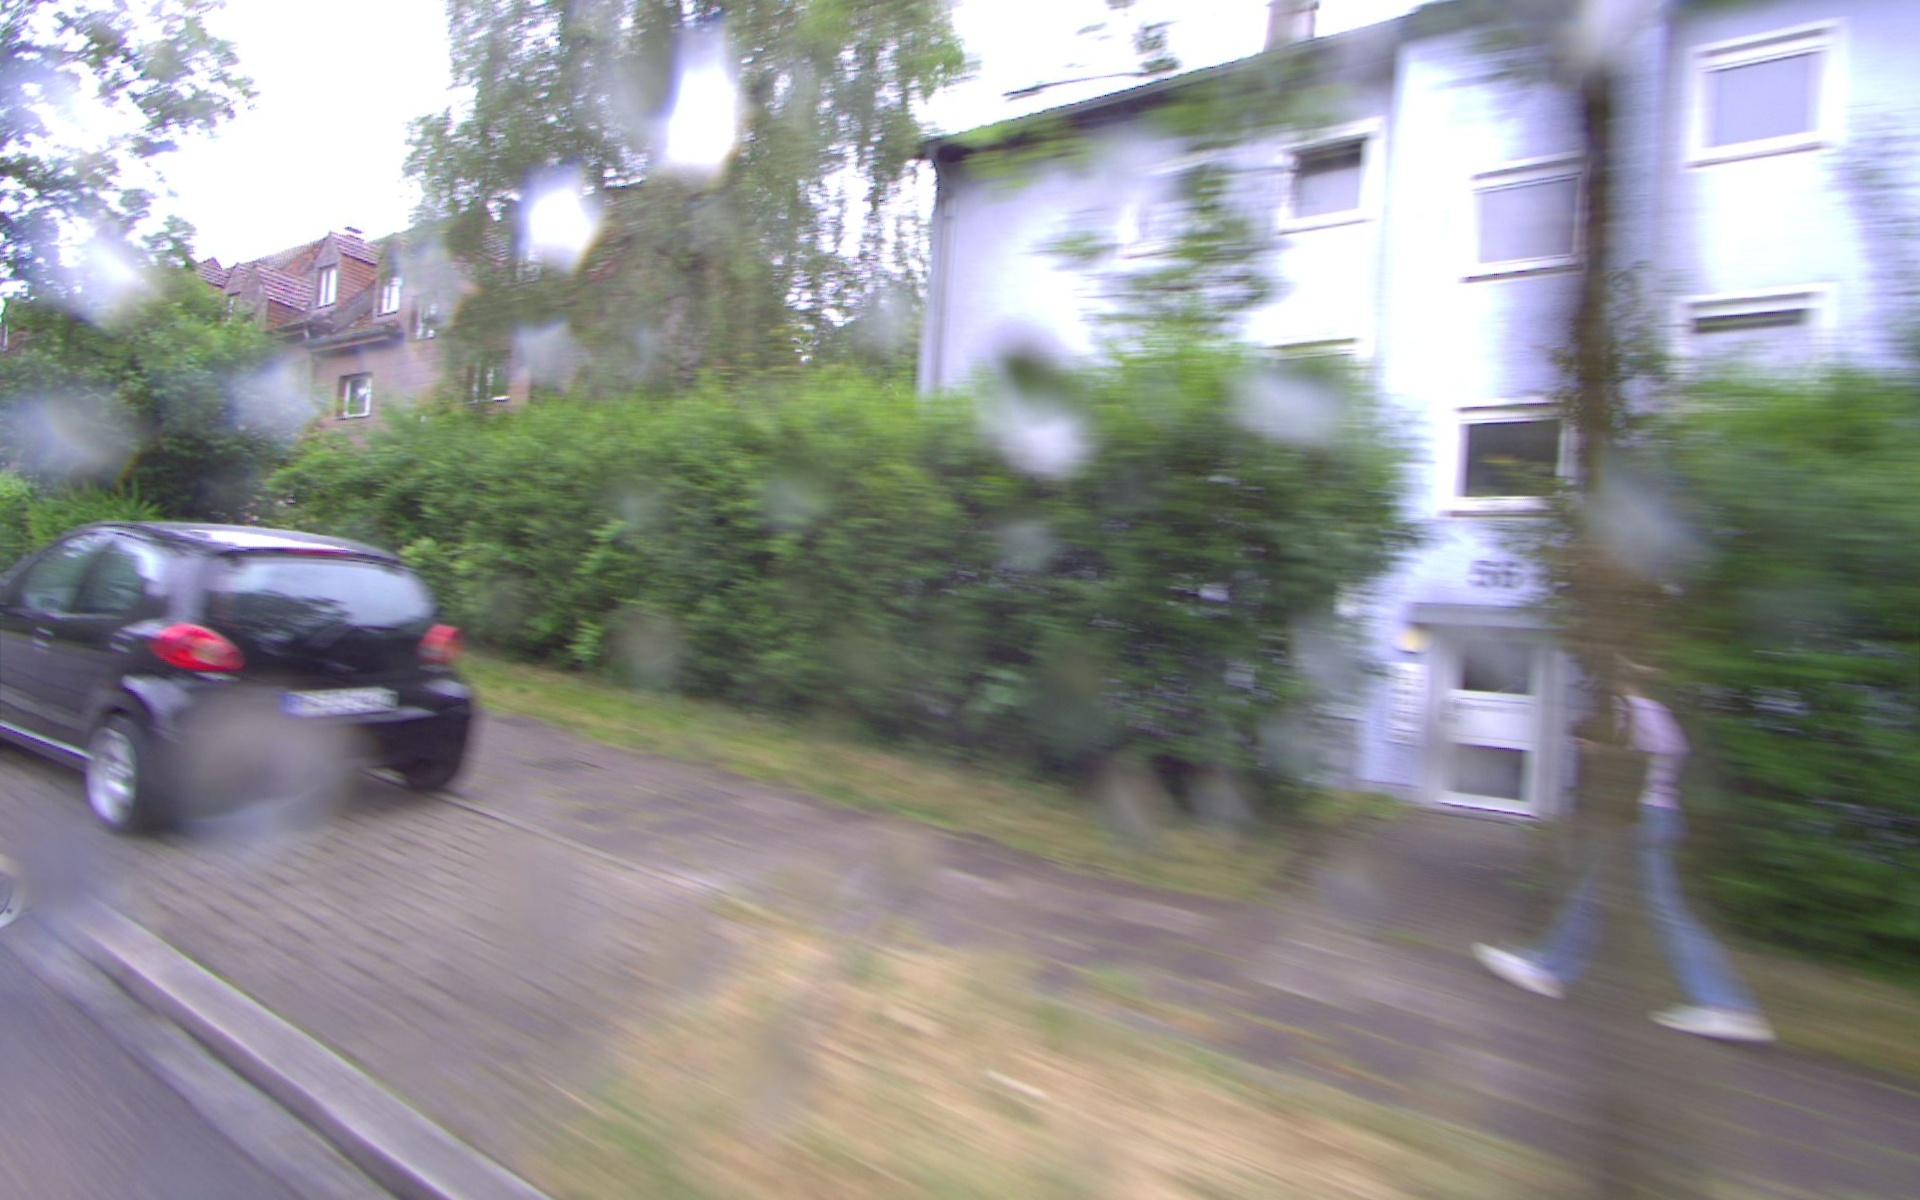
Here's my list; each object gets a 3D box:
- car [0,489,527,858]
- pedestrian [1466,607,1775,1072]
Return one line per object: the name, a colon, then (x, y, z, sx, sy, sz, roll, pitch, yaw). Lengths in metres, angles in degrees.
car: (-4.607, 0.229, 6.062, 3.722, 1.531, 1.723, 6, 1, 31)
pedestrian: (2.855, 0.935, 4.360, 0.882, 1.701, 0.715, 6, 1, 42)
